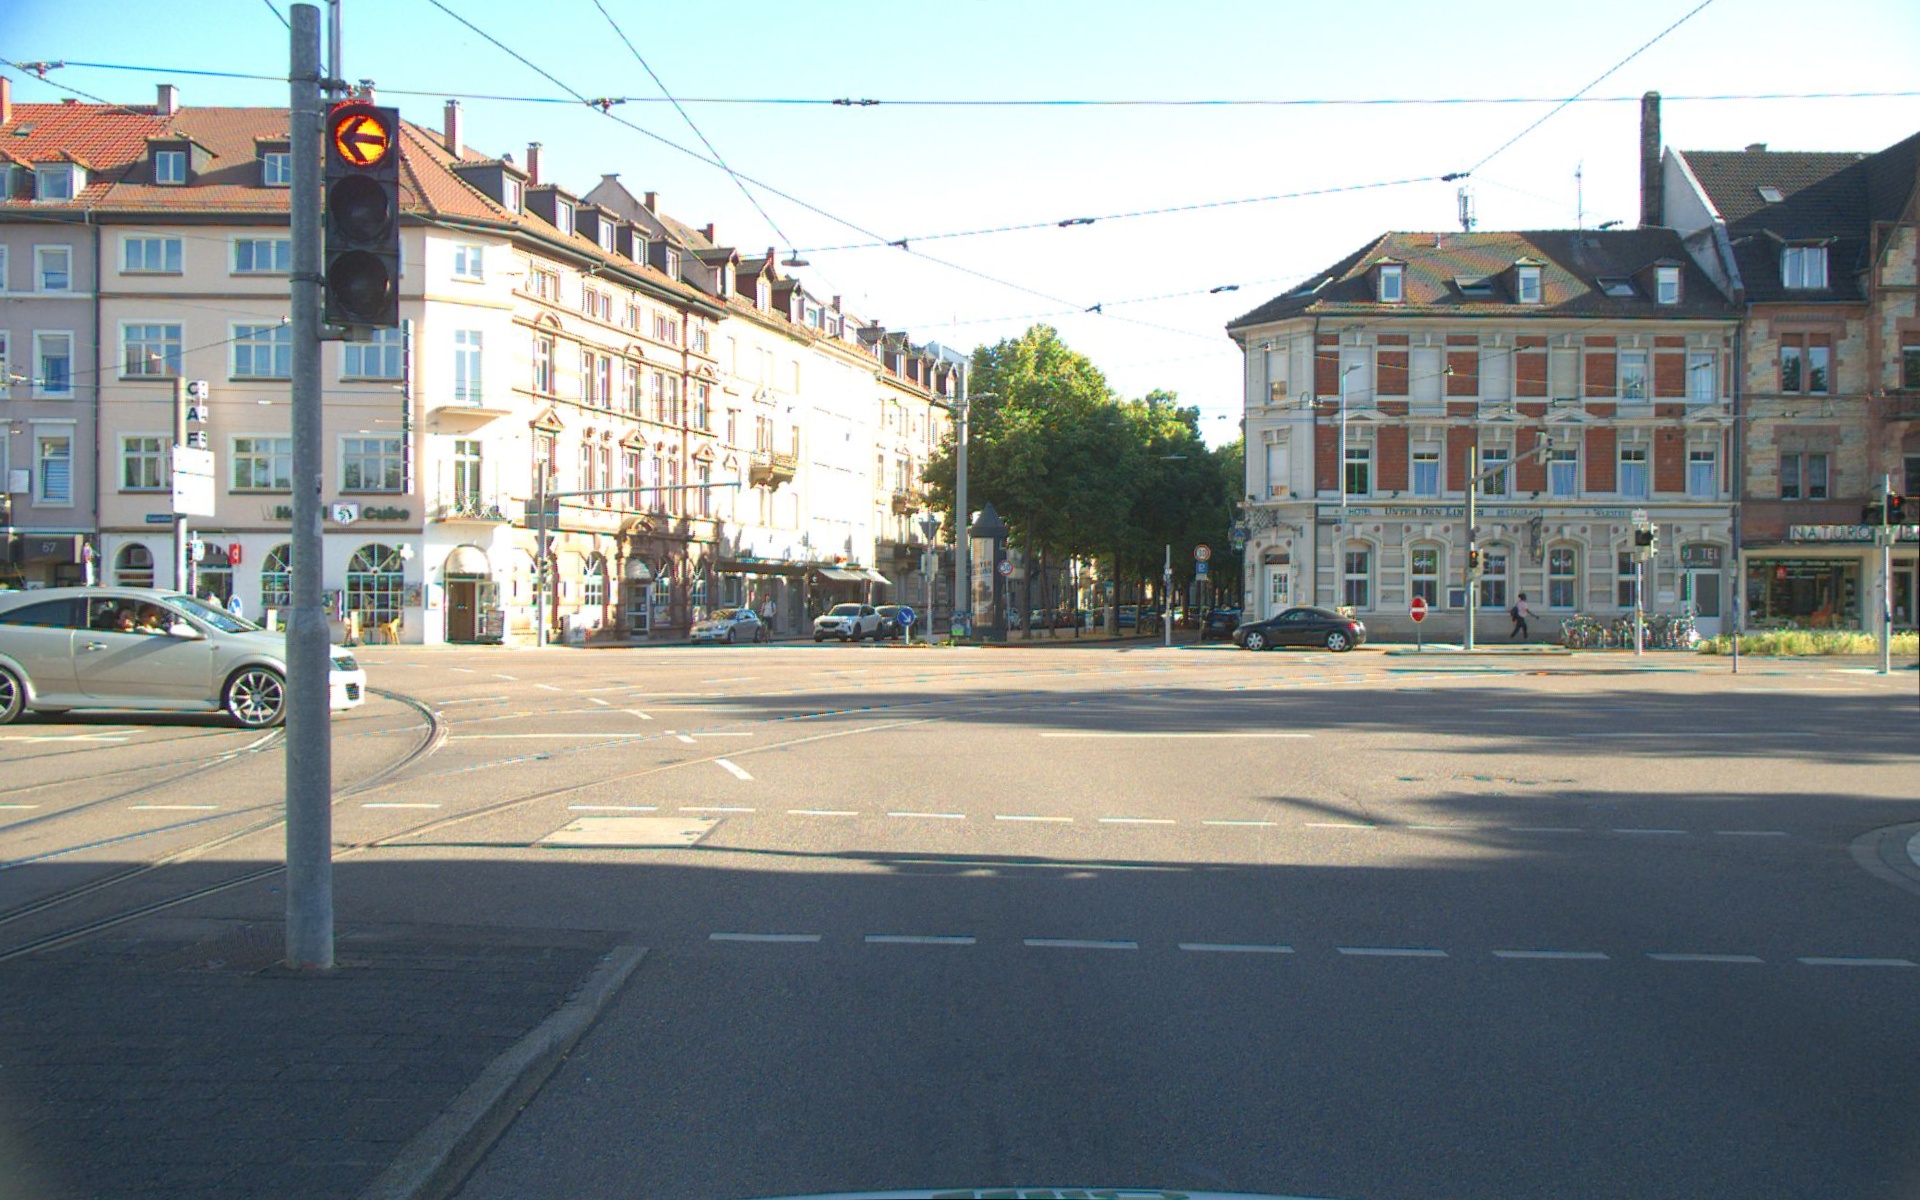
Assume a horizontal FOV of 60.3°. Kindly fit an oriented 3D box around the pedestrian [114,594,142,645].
[{"bbox_3d":[-28.490,0.659,56.654,0.727,1.711,0.626,0,0,-12],"label":"pedestrian"}]

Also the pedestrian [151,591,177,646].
[{"bbox_3d":[-24.953,0.579,51.831,0.731,1.711,0.623,0,0,-26],"label":"pedestrian"}]

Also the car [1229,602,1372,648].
[{"bbox_3d":[10.245,0.734,49.737,3.976,1.323,1.723,0,0,21],"label":"car"}]

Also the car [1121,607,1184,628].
[{"bbox_3d":[12.318,1.133,105.558,3.902,1.311,1.696,0,0,10],"label":"car"}]

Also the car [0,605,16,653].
[{"bbox_3d":[-32.134,0.895,52.152,3.651,1.517,1.818,1,0,2],"label":"car"}]

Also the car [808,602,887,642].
[{"bbox_3d":[-4.531,0.860,67.383,1.951,1.542,4.172,0,0,15],"label":"car"}]

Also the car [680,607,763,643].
[{"bbox_3d":[-9.599,0.979,66.877,1.951,1.385,3.821,0,0,15],"label":"car"}]

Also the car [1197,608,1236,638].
[{"bbox_3d":[12.854,1.137,82.701,1.717,1.445,4.003,0,0,12],"label":"car"}]

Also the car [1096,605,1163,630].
[{"bbox_3d":[10.251,1.031,99.819,3.902,1.480,1.683,0,0,10],"label":"car"}]

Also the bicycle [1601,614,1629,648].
[{"bbox_3d":[21.162,1.001,53.479,0.476,1.038,1.785,0,0,9],"label":"bicycle"}]

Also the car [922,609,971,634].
[{"bbox_3d":[-0.818,1.309,102.052,1.951,1.429,4.172,0,0,15],"label":"car"}]

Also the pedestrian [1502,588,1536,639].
[{"bbox_3d":[19.301,0.462,57.109,1.013,1.741,0.630,1,-1,8],"label":"pedestrian"}]

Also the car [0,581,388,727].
[{"bbox_3d":[-8.451,0.546,17.595,4.188,1.466,1.738,0,0,-8],"label":"car"}]

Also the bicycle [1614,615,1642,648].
[{"bbox_3d":[21.611,1.009,53.547,0.476,1.038,1.785,0,0,9],"label":"bicycle"}]

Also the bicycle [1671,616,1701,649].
[{"bbox_3d":[23.589,1.044,53.737,0.476,1.038,1.785,0,0,9],"label":"bicycle"}]

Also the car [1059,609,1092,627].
[{"bbox_3d":[9.574,1.468,136.721,1.951,1.429,4.172,0,0,15],"label":"car"}]

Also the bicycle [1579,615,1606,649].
[{"bbox_3d":[20.473,1.022,53.571,0.476,1.038,1.785,0,0,9],"label":"bicycle"}]

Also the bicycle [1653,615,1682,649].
[{"bbox_3d":[22.904,1.032,53.555,0.476,1.038,1.785,0,0,9],"label":"bicycle"}]

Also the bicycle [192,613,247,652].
[{"bbox_3d":[-25.306,1.114,56.523,1.684,1.299,0.385,0,0,-18],"label":"bicycle"}]

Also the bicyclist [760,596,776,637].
[{"bbox_3d":[-7.547,0.648,65.063,0.479,1.629,0.667,0,0,9],"label":"bicyclist"}]

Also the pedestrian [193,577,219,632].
[{"bbox_3d":[-23.640,0.136,51.881,0.731,1.711,0.623,0,0,-26],"label":"pedestrian"}]

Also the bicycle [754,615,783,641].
[{"bbox_3d":[-7.557,1.093,65.163,0.641,1.018,1.666,1,0,11],"label":"bicycle"}]

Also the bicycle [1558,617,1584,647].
[{"bbox_3d":[19.803,1.015,53.648,0.476,0.930,1.785,0,0,9],"label":"bicycle"}]

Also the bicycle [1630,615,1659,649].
[{"bbox_3d":[22.110,1.017,53.475,0.476,1.038,1.785,0,0,9],"label":"bicycle"}]

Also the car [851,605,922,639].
[{"bbox_3d":[-3.226,0.947,73.575,1.951,1.429,4.172,0,0,15],"label":"car"}]

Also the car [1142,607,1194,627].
[{"bbox_3d":[14.047,1.142,111.657,3.360,1.261,1.578,0,0,10],"label":"car"}]

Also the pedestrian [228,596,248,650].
[{"bbox_3d":[-17.215,0.541,39.438,0.358,1.275,0.449,0,0,-12],"label":"pedestrian"}]

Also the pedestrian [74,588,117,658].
[{"bbox_3d":[-21.496,0.568,41.130,0.725,1.711,0.628,0,0,-1],"label":"pedestrian"}]

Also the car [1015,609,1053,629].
[{"bbox_3d":[5.477,1.368,122.636,1.951,1.429,4.172,0,0,15],"label":"car"}]

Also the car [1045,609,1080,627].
[{"bbox_3d":[8.144,1.422,131.503,1.951,1.429,4.172,0,0,15],"label":"car"}]

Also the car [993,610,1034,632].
[{"bbox_3d":[3.818,1.474,116.890,1.951,1.429,4.172,0,0,15],"label":"car"}]

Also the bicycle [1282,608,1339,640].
[{"bbox_3d":[12.175,0.826,57.509,1.911,1.072,0.716,0,0,9],"label":"bicycle"}]
